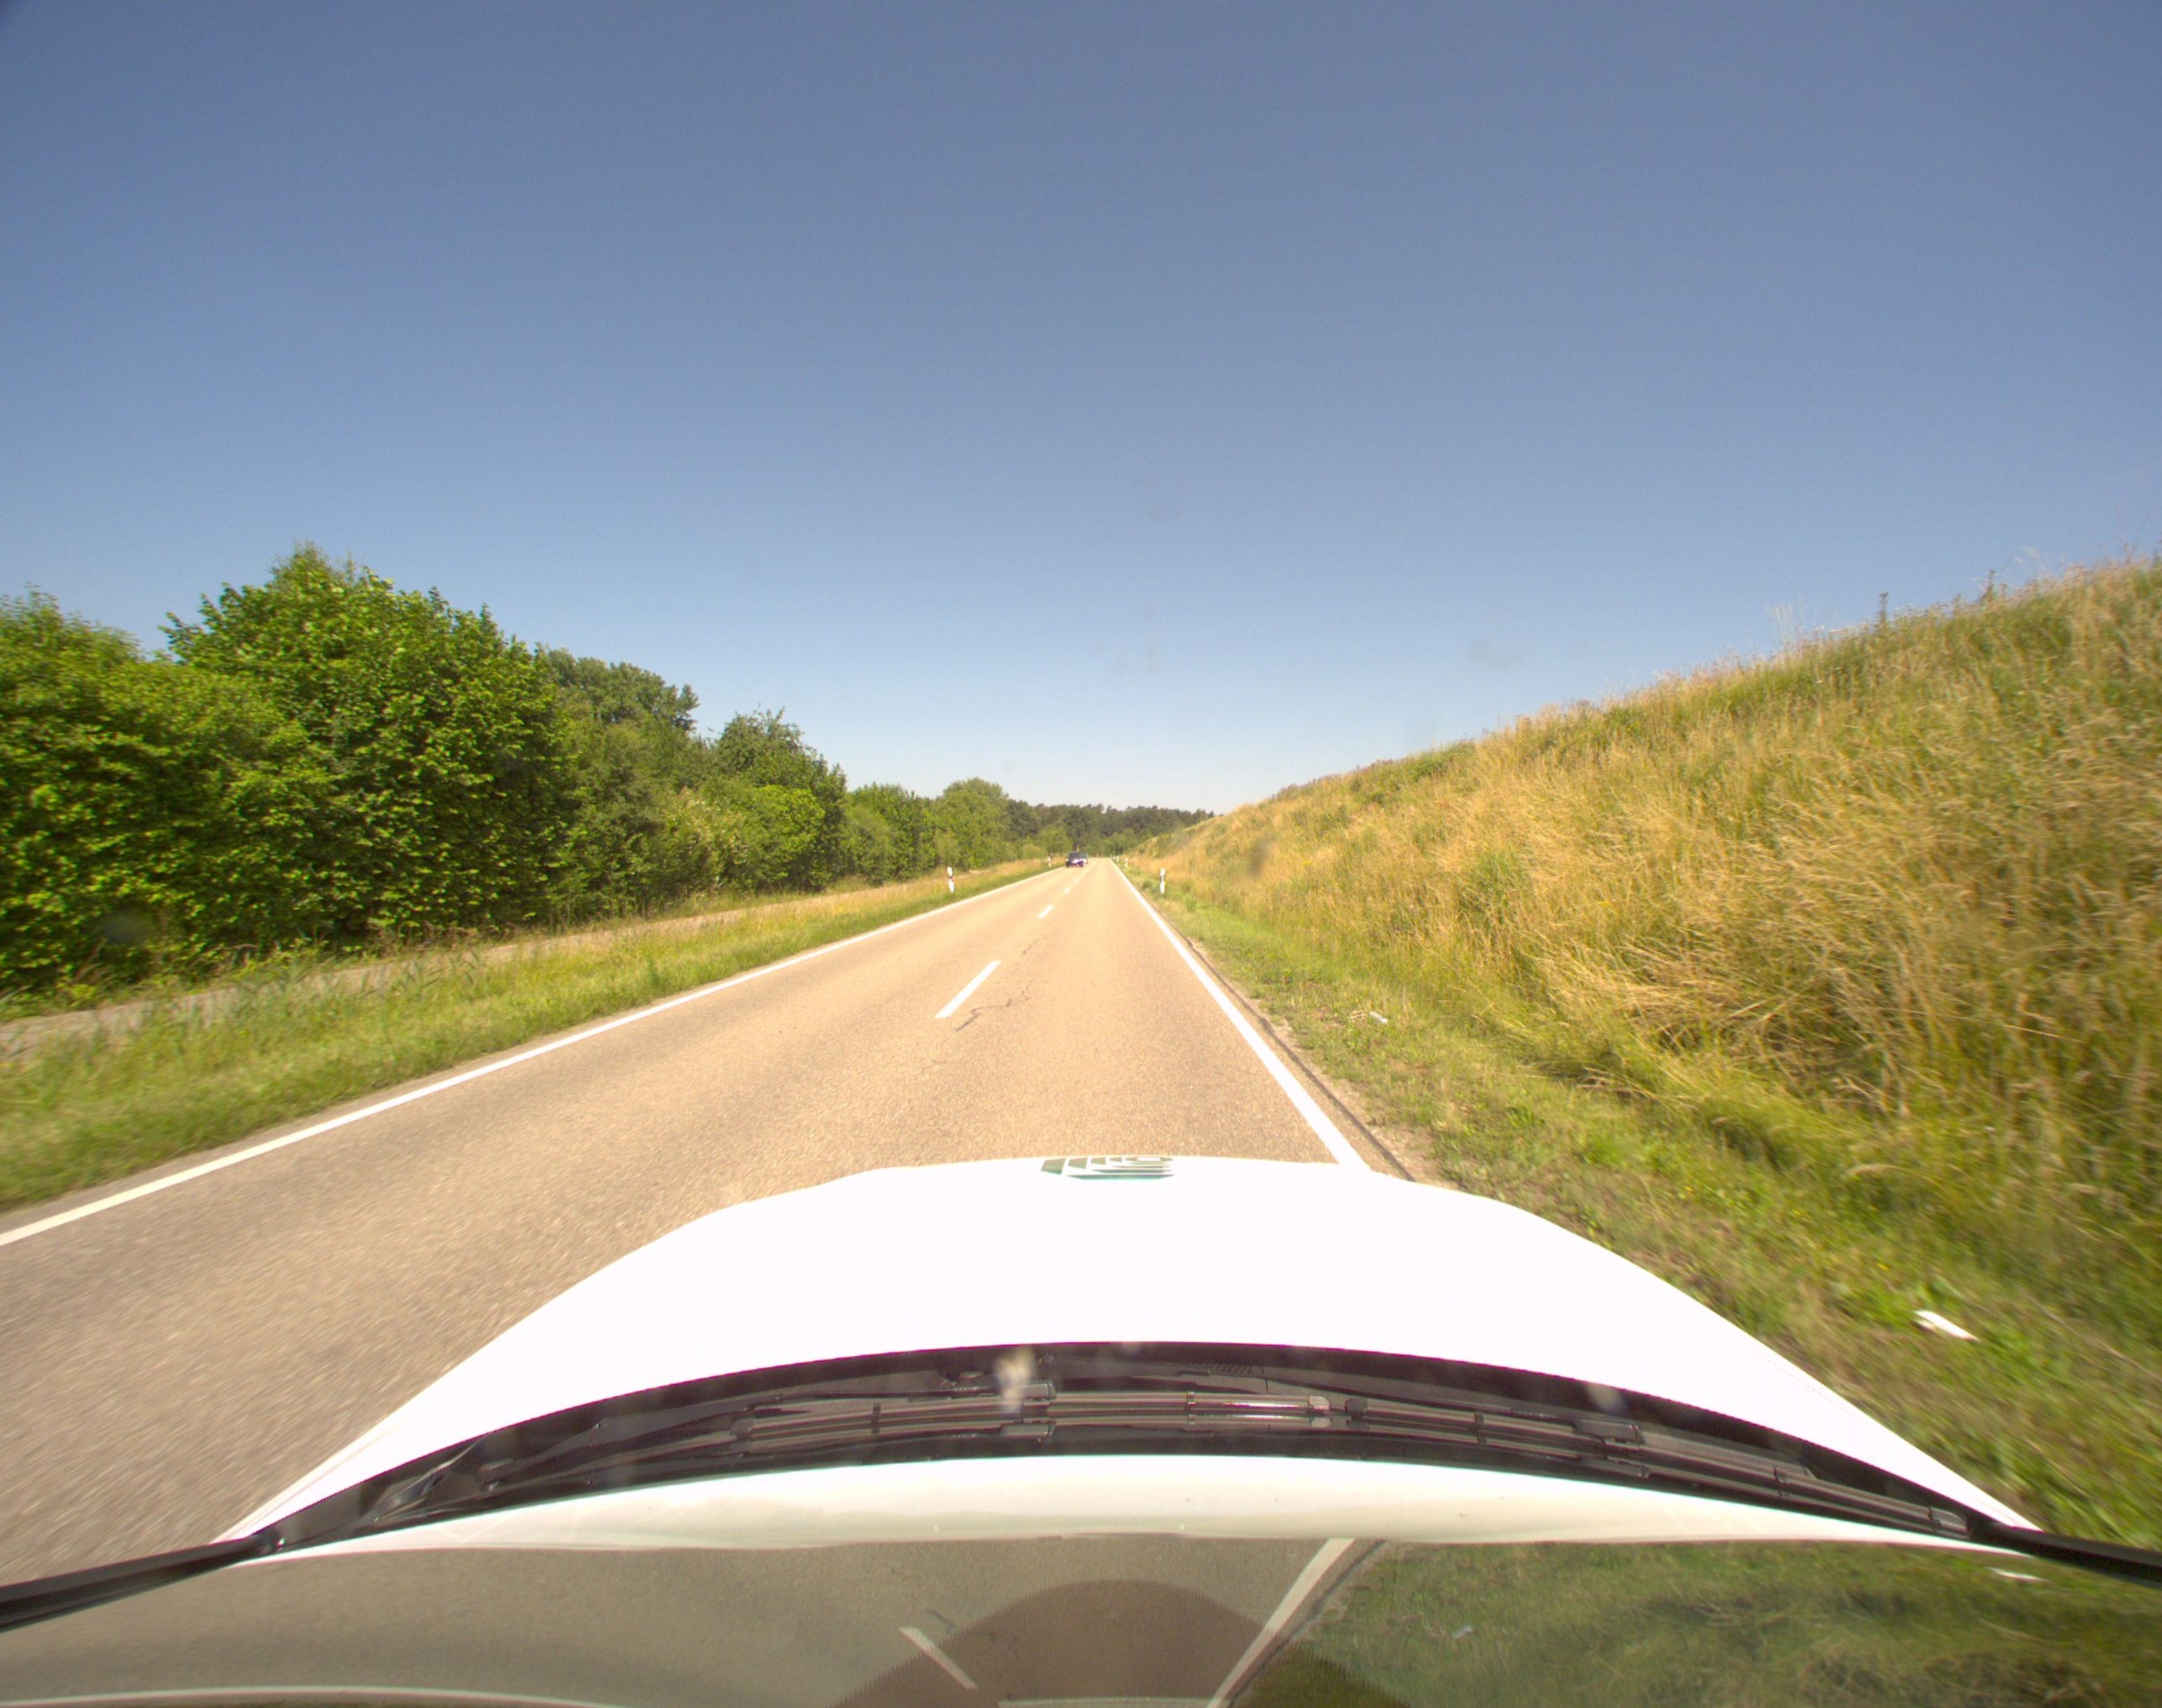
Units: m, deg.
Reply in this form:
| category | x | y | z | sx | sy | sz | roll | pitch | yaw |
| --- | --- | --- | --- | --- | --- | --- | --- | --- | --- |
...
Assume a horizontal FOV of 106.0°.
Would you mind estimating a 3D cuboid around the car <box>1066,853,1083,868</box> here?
| category | x | y | z | sx | sy | sz | roll | pitch | yaw |
| --- | --- | --- | --- | --- | --- | --- | --- | --- | --- |
| car | -0.682 | 0.667 | 87.792 | 1.710 | 1.647 | 3.915 | 0 | 0 | 1 |

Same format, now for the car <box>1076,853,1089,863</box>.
| category | x | y | z | sx | sy | sz | roll | pitch | yaw |
| --- | --- | --- | --- | --- | --- | --- | --- | --- | --- |
| car | 0.217 | 0.523 | 115.681 | 1.716 | 1.354 | 4.001 | 1 | 0 | 1 |
